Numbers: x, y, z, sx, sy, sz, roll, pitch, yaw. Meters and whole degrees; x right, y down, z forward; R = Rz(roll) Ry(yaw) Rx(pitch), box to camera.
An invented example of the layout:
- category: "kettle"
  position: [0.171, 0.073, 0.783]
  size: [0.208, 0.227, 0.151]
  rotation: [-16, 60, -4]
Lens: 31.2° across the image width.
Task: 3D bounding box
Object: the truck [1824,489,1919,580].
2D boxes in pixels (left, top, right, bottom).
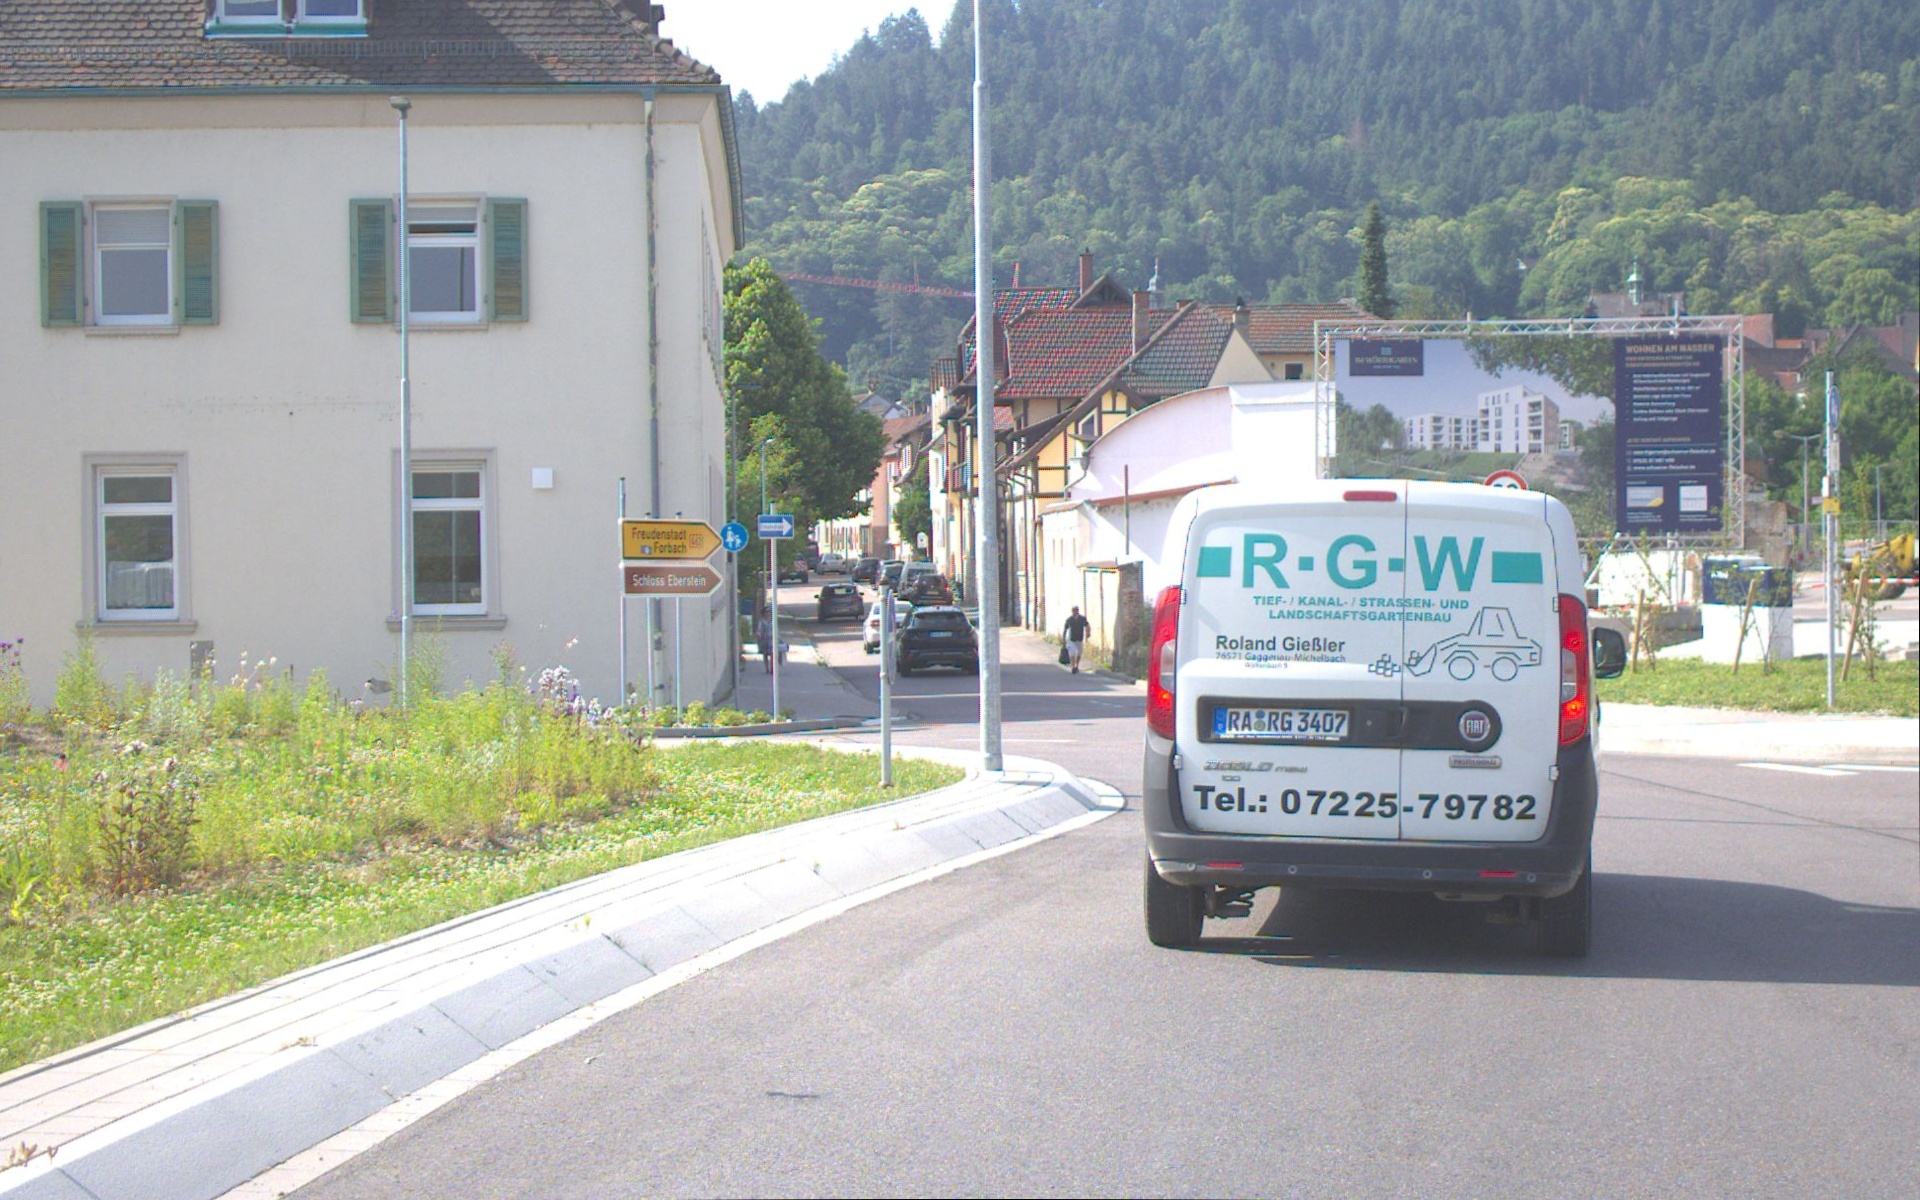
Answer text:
- category: "truck"
  position: [25.437, -1.754, 89.648]
  size: [5.321, 2.258, 2.216]
  rotation: [-2, 0, 23]

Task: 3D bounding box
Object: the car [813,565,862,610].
- category: "car"
  position: [-4.723, -0.506, 132.101]
  size: [1.810, 1.591, 3.927]
  rotation: [2, 1, -3]

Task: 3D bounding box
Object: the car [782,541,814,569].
- category: "car"
  position: [-9.869, -2.764, 209.221]
  size: [1.810, 1.591, 3.927]
  rotation: [2, 1, -4]

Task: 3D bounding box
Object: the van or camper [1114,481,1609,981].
- category: "van or camper"
  position: [1.873, 0.470, 14.878]
  size: [1.829, 1.838, 4.186]
  rotation: [0, 0, 11]

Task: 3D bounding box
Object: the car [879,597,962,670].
- category: "car"
  position: [-0.985, 0.785, 82.985]
  size: [1.810, 1.591, 3.927]
  rotation: [2, 1, -3]

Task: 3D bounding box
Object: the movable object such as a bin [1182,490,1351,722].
- category: "movable object such as a bin"
  position: [5.406, 0.071, 61.711]
  size: [2.295, 3.841, 7.798]
  rotation: [2, 0, 0]

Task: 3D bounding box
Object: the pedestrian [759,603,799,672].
- category: "pedestrian"
  position: [-4.302, 0.881, 81.636]
  size: [0.958, 1.625, 0.758]
  rotation: [0, 0, -3]

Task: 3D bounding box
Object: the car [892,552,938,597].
- category: "car"
  position: [-2.046, -1.166, 156.165]
  size: [1.871, 2.007, 4.001]
  rotation: [0, 1, -4]

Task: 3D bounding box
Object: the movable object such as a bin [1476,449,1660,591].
- category: "movable object such as a bin"
  position: [16.332, -2.128, 92.141]
  size: [2.855, 3.609, 5.725]
  rotation: [3, 2, 31]

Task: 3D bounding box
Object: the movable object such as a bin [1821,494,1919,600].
- category: "movable object such as a bin"
  position: [24.162, -1.373, 86.341]
  size: [4.617, 2.561, 1.923]
  rotation: [-2, 0, 22]

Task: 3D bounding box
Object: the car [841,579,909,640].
- category: "car"
  position: [-2.477, 0.264, 99.591]
  size: [1.810, 1.591, 3.927]
  rotation: [2, 1, -3]

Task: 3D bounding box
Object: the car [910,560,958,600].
- category: "car"
  position: [-1.138, -0.868, 146.067]
  size: [1.810, 1.591, 3.927]
  rotation: [2, 1, -3]

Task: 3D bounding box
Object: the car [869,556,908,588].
- category: "car"
  position: [-3.606, -1.412, 172.624]
  size: [1.669, 1.503, 4.001]
  rotation: [-1, 1, -5]

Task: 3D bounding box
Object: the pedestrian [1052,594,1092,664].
- category: "pedestrian"
  position: [2.722, 0.714, 83.482]
  size: [0.888, 1.677, 0.718]
  rotation: [1, 0, -3]
